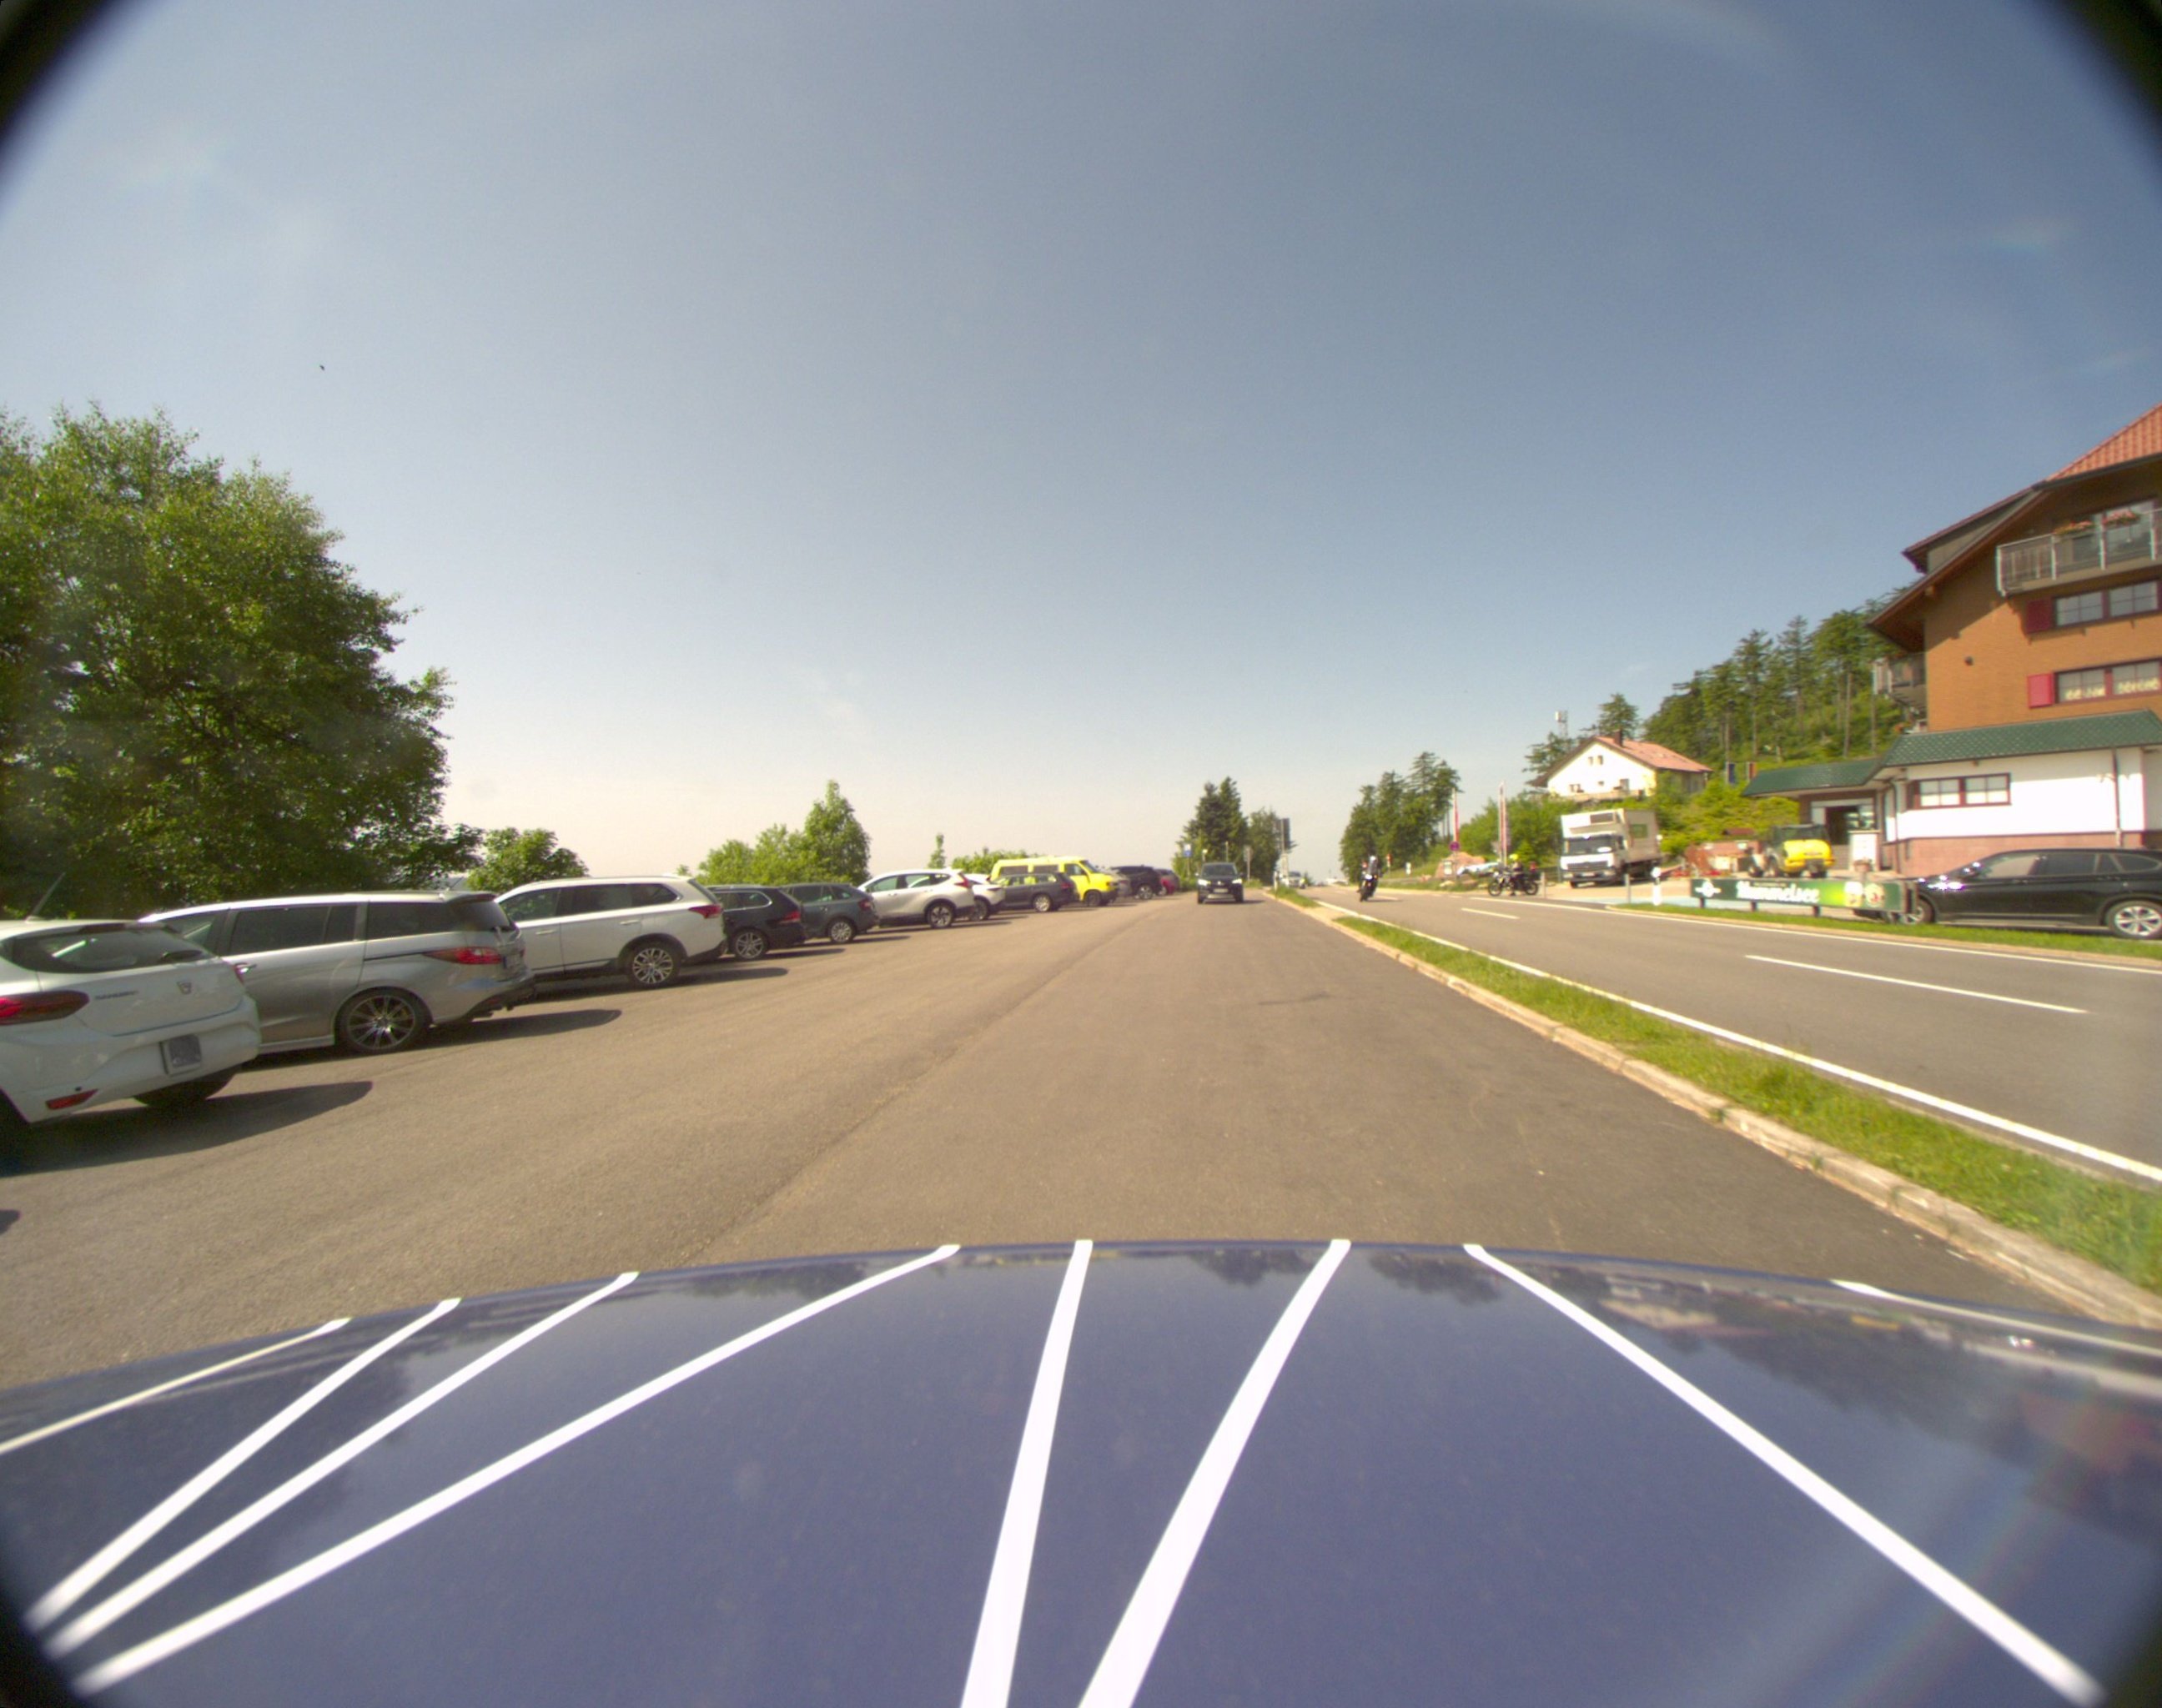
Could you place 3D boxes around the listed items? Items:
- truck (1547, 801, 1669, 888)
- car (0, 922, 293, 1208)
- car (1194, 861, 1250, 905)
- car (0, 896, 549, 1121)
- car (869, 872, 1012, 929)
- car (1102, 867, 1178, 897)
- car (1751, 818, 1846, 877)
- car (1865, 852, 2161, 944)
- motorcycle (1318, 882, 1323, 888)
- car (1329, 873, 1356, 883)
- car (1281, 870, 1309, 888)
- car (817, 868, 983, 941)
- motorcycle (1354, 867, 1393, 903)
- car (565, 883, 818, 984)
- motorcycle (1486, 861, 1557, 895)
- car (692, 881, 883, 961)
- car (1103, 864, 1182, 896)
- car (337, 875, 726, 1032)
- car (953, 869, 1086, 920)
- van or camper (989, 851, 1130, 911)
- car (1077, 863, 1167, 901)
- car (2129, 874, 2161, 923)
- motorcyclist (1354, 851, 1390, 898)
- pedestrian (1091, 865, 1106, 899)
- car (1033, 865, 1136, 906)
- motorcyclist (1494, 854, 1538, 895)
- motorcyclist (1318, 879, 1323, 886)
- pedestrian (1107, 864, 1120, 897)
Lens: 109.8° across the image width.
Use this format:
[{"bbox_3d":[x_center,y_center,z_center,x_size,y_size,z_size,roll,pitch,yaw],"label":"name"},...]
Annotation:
[{"bbox_3d":[27.326,-0.518,39.177,8.788,3.948,3.063,-2,-2,-43],"label":"truck"},{"bbox_3d":[-8.037,1.382,4.687,4.001,1.467,1.766,-4,0,-15],"label":"car"},{"bbox_3d":[5.539,1.093,29.735,1.983,1.607,4.154,-1,-1,11],"label":"car"},{"bbox_3d":[-7.974,1.362,7.564,4.004,1.539,1.817,-4,0,-23],"label":"car"},{"bbox_3d":[-4.319,1.416,23.901,4.097,1.491,1.944,-3,0,-2],"label":"car"},{"bbox_3d":[3.208,1.528,41.811,3.997,1.500,1.843,-2,-2,1],"label":"car"},{"bbox_3d":[32.118,-0.204,34.158,1.995,2.481,4.008,-1,-1,27],"label":"car"},{"bbox_3d":[17.866,0.769,14.226,1.811,1.531,4.182,1,-1,-35],"label":"car"},{"bbox_3d":[53.487,6.839,169.738,0.812,1.258,2.331,0,-1,20],"label":"motorcycle"},{"bbox_3d":[49.809,4.569,144.822,4.723,1.870,1.935,2,-1,13],"label":"car"},{"bbox_3d":[17.082,1.976,60.739,1.779,1.448,4.004,0,-1,10],"label":"car"},{"bbox_3d":[-4.919,1.346,21.083,4.185,1.640,1.890,-4,0,-10],"label":"car"},{"bbox_3d":[10.959,1.117,28.408,0.876,1.249,2.282,0,0,34],"label":"motorcycle"},{"bbox_3d":[-7.359,1.454,14.845,4.054,1.452,1.892,-4,0,-18],"label":"car"},{"bbox_3d":[19.011,1.032,32.810,2.443,1.398,1.006,-1,0,0],"label":"motorcycle"},{"bbox_3d":[-6.621,1.483,17.524,3.807,1.450,1.661,-4,-1,-12],"label":"car"},{"bbox_3d":[3.595,1.515,44.363,4.406,1.558,1.909,-3,-2,4],"label":"car"},{"bbox_3d":[-7.585,1.279,11.080,4.232,1.684,1.860,-3,-1,-27],"label":"car"},{"bbox_3d":[-2.139,1.434,27.189,4.358,1.478,1.814,-4,-2,9],"label":"car"},{"bbox_3d":[-0.816,1.081,29.956,5.098,2.001,1.885,-4,-2,15],"label":"van or camper"},{"bbox_3d":[1.941,1.293,35.388,3.995,1.604,1.918,-3,-1,5],"label":"car"},{"bbox_3d":[30.411,1.171,19.534,1.717,1.289,3.990,1,-1,-33],"label":"car"},{"bbox_3d":[10.894,0.725,28.409,0.923,1.708,1.455,0,1,34],"label":"motorcyclist"},{"bbox_3d":[0.995,1.558,43.182,0.609,1.888,0.679,-3,-1,9],"label":"pedestrian"},{"bbox_3d":[0.173,1.352,33.033,4.157,1.579,1.707,-3,-1,13],"label":"car"},{"bbox_3d":[18.801,0.879,32.851,1.247,1.709,1.064,-1,0,0],"label":"motorcyclist"},{"bbox_3d":[53.487,6.393,169.706,0.879,1.631,1.302,0,-1,20],"label":"motorcyclist"},{"bbox_3d":[1.731,1.419,40.483,0.505,1.714,0.567,-3,-1,-2],"label":"pedestrian"}]
